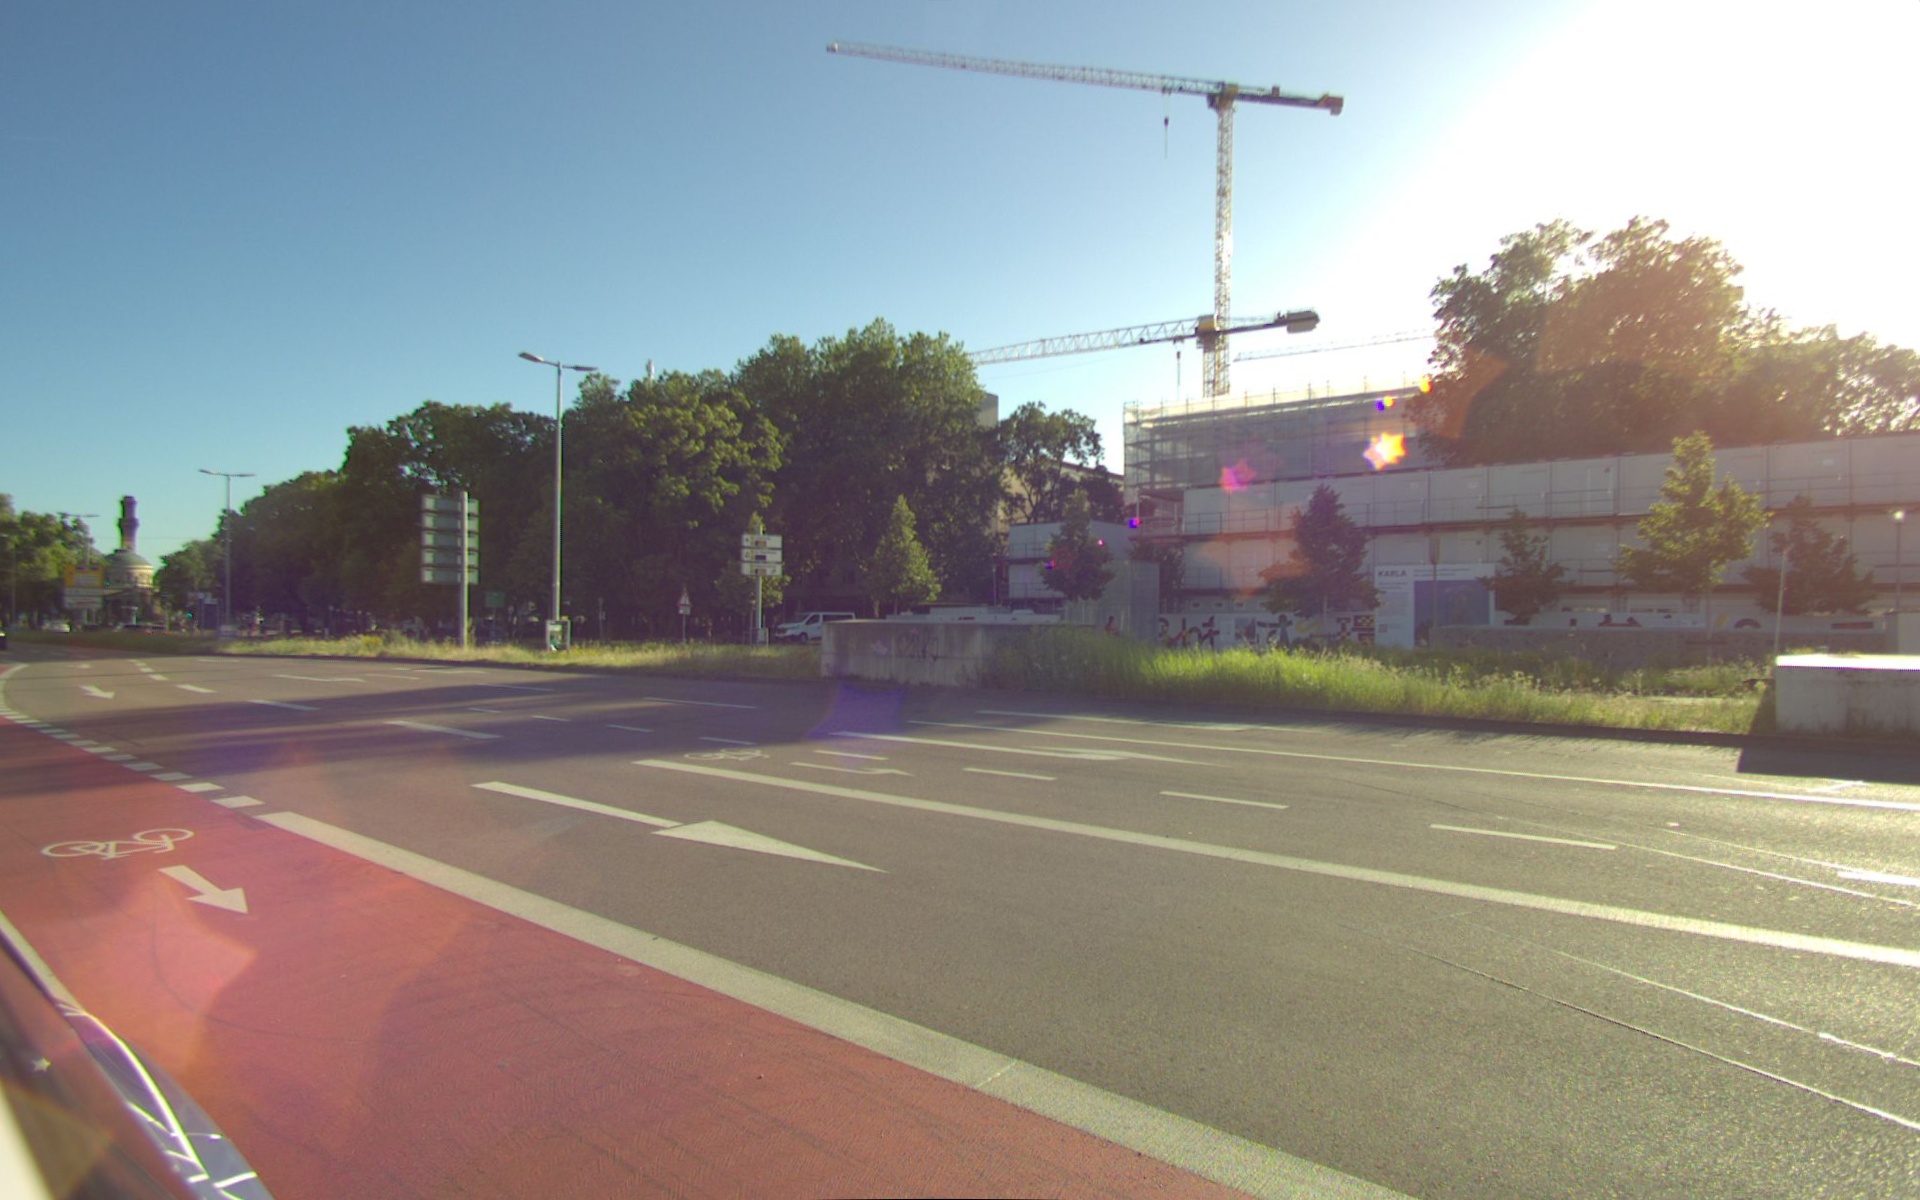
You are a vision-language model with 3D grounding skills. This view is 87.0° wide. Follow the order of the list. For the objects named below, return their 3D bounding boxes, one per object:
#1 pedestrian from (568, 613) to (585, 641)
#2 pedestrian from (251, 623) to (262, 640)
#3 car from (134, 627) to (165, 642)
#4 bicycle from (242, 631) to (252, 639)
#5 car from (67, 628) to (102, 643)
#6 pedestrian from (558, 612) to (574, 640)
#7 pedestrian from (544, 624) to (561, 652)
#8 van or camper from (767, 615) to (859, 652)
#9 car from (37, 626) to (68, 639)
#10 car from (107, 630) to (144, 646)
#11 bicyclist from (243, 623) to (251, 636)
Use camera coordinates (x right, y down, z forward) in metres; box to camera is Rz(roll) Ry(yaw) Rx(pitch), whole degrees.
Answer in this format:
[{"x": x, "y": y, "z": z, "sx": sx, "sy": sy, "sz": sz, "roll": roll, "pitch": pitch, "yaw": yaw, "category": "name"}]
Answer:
[{"x": -24.515, "y": 1.734, "z": 64.719, "sx": 0.762, "sy": 1.738, "sz": 0.698, "roll": -1, "pitch": -2, "yaw": 41, "category": "pedestrian"}, {"x": -76.311, "y": 3.420, "z": 109.773, "sx": 0.618, "sy": 1.862, "sz": 0.927, "roll": 0, "pitch": -2, "yaw": -12, "category": "pedestrian"}, {"x": -83.660, "y": 3.569, "z": 104.449, "sx": 4.000, "sy": 1.519, "sz": 1.972, "roll": -1, "pitch": -2, "yaw": 43, "category": "car"}, {"x": -73.056, "y": 3.558, "z": 103.708, "sx": 0.601, "sy": 0.849, "sz": 1.748, "roll": 1, "pitch": -2, "yaw": -41, "category": "bicycle"}, {"x": -86.142, "y": 3.501, "z": 99.589, "sx": 3.994, "sy": 1.409, "sz": 1.850, "roll": -1, "pitch": -2, "yaw": 38, "category": "car"}, {"x": -24.988, "y": 1.630, "z": 64.132, "sx": 0.762, "sy": 1.738, "sz": 0.656, "roll": -1, "pitch": -2, "yaw": 41, "category": "pedestrian"}, {"x": -25.538, "y": 2.382, "z": 63.487, "sx": 0.762, "sy": 1.738, "sz": 0.698, "roll": -1, "pitch": -2, "yaw": 41, "category": "pedestrian"}, {"x": -8.930, "y": 2.006, "z": 61.941, "sx": 1.948, "sy": 2.029, "sz": 5.576, "roll": -1, "pitch": 0, "yaw": 42, "category": "van or camper"}, {"x": -98.718, "y": 3.519, "z": 110.047, "sx": 3.995, "sy": 1.409, "sz": 1.849, "roll": -1, "pitch": -2, "yaw": 39, "category": "car"}, {"x": -75.003, "y": 3.366, "z": 90.976, "sx": 3.996, "sy": 1.409, "sz": 1.849, "roll": -1, "pitch": -2, "yaw": 40, "category": "car"}, {"x": -73.053, "y": 3.053, "z": 103.722, "sx": 0.601, "sy": 1.291, "sz": 0.716, "roll": 1, "pitch": -2, "yaw": -41, "category": "bicyclist"}]
